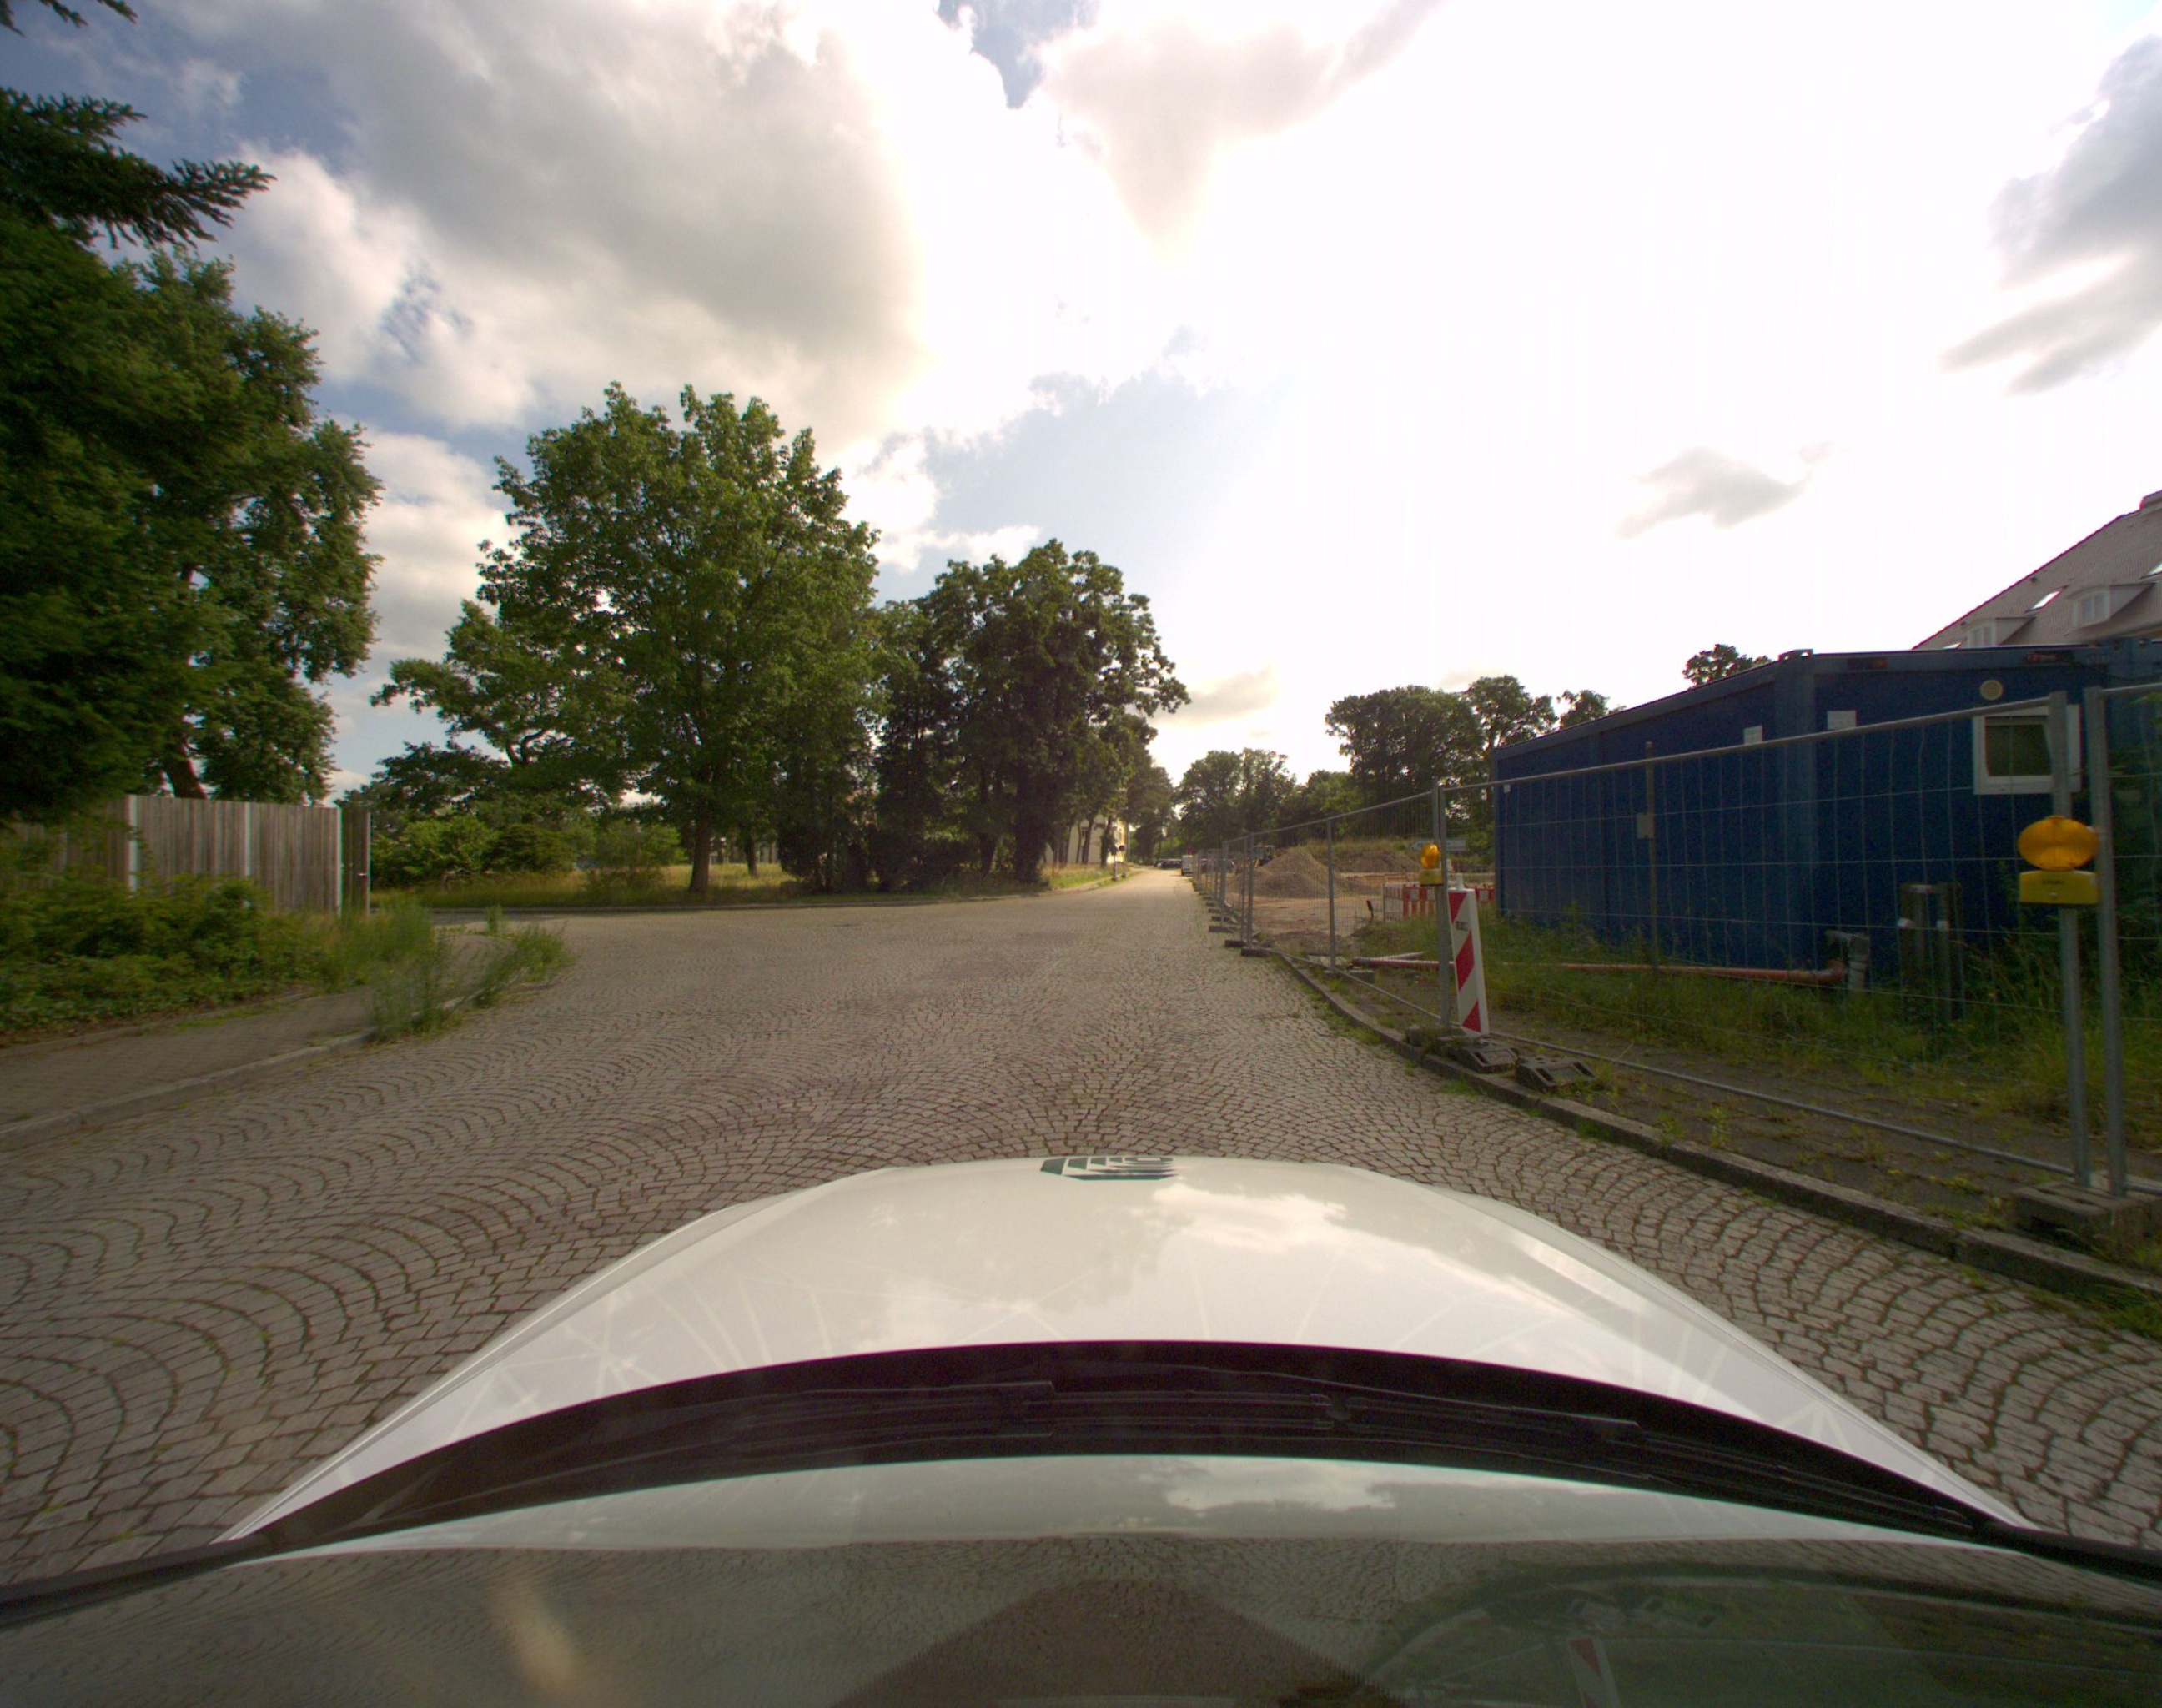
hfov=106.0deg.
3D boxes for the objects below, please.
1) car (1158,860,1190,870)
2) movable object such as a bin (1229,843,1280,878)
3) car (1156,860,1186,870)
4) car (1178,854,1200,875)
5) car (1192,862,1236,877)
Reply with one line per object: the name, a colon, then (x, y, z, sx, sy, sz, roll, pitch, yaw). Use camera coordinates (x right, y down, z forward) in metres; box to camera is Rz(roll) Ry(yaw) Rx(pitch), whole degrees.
car: (14.619, 1.724, 128.343, 4.763, 1.641, 2.000, 0, -1, 0)
movable object such as a bin: (13.363, 0.505, 62.451, 2.108, 2.593, 4.821, -1, -1, 35)
car: (14.515, 1.743, 131.476, 4.763, 1.641, 2.000, 0, -1, 0)
car: (10.639, 1.001, 80.364, 1.984, 2.014, 4.096, 0, -1, 5)
car: (14.021, 1.597, 85.935, 4.371, 1.510, 2.007, 0, -1, 14)
